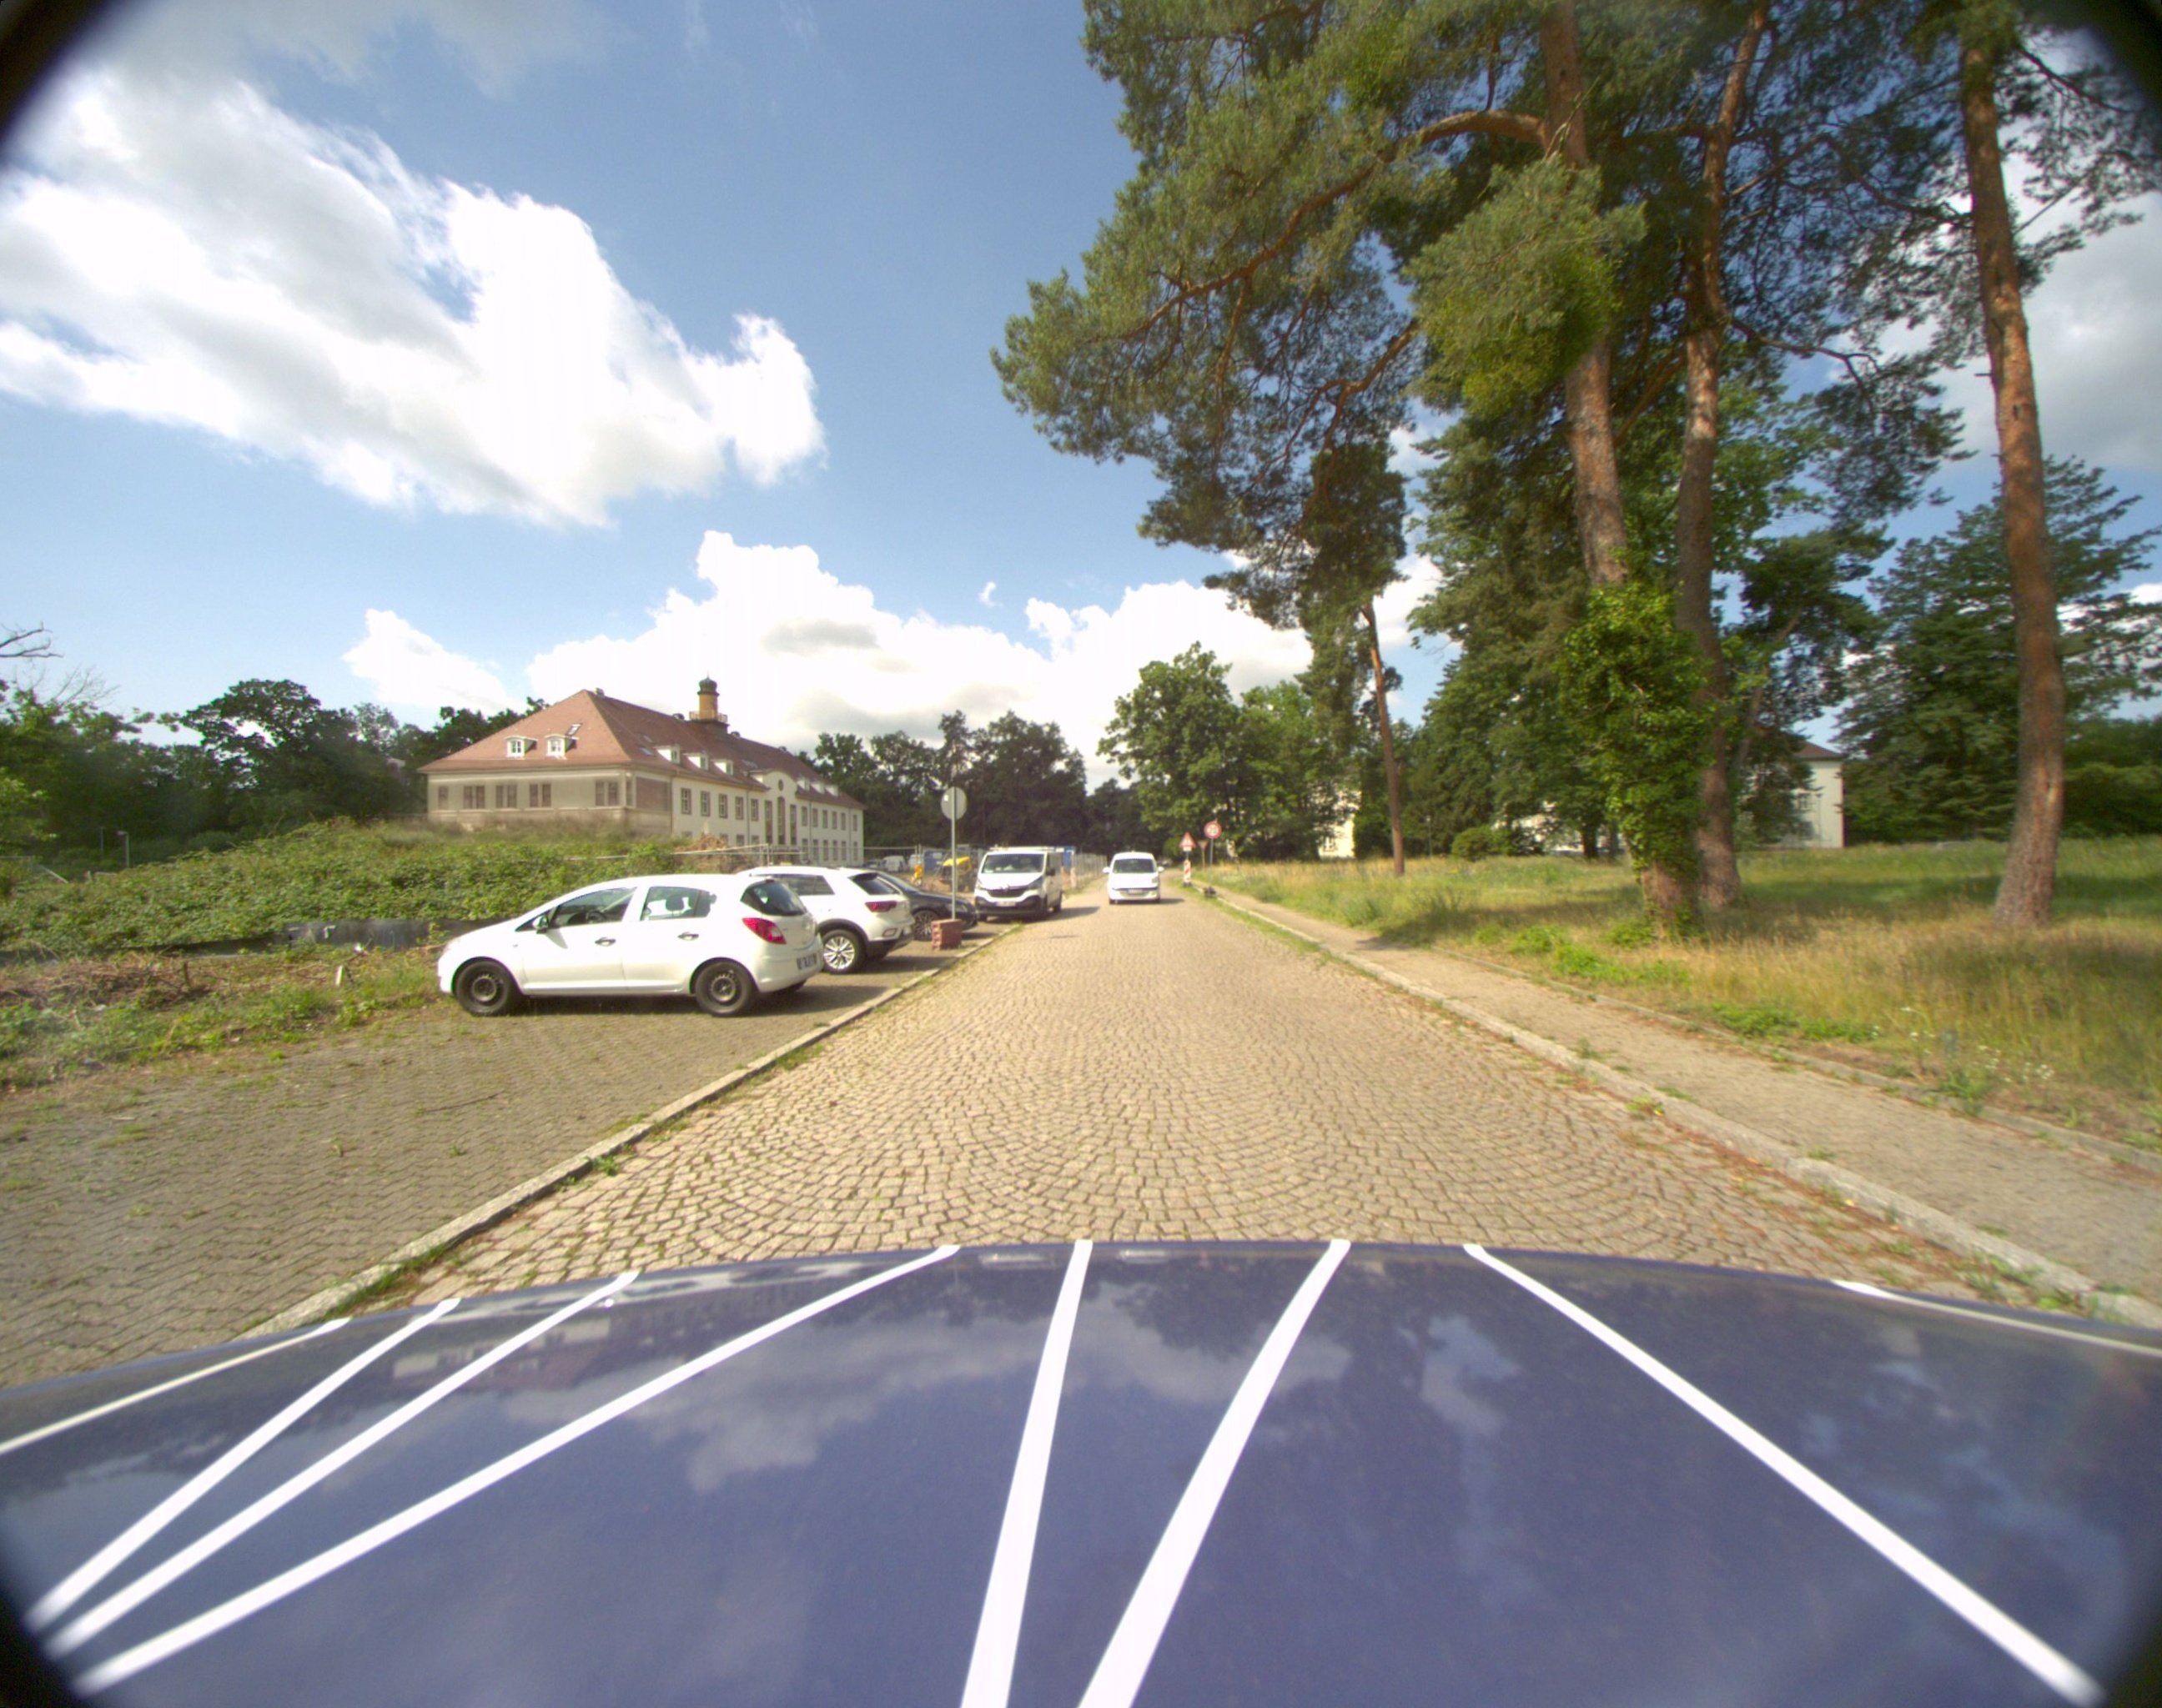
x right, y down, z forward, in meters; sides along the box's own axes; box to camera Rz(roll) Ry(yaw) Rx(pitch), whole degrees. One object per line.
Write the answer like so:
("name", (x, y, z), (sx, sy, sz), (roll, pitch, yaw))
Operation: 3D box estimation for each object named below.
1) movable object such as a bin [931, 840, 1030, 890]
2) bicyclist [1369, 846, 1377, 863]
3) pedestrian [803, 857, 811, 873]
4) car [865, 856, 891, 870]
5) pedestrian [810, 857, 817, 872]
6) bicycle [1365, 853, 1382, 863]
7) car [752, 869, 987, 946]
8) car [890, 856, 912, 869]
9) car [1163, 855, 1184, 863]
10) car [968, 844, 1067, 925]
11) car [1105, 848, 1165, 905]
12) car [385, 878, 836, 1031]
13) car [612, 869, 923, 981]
("movable object such as a bin", (-5.334, 0.573, 41.246), (2.143, 2.506, 5.668), (0, -1, 33))
("bicyclist", (30.292, 0.072, 78.812), (0.570, 1.760, 0.635), (-1, 0, 10))
("pedestrian", (-30.747, 1.212, 85.255), (0.490, 1.777, 0.507), (-1, 0, 27))
("car", (-27.898, 1.221, 104.585), (1.883, 1.718, 4.709), (-1, 0, 5))
("pedestrian", (-30.542, 1.207, 86.702), (0.491, 1.777, 0.507), (-1, 0, 1))
("bicycle", (30.302, 0.453, 78.808), (1.555, 0.990, 0.635), (-2, 0, 10))
("car", (-4.342, 1.085, 16.087), (4.465, 1.466, 1.745), (1, 0, 0))
("car", (-24.695, 1.137, 104.458), (1.801, 1.673, 4.041), (-1, 0, 5))
("car", (18.137, 1.001, 149.463), (4.082, 1.634, 1.767), (-1, 0, 3))
("car", (-1.668, 0.780, 22.203), (1.918, 2.041, 5.680), (-1, 0, 5))
("car", (1.886, 0.806, 27.746), (1.839, 1.857, 4.831), (-1, -1, 0))
("car", (-5.079, 1.047, 8.585), (4.052, 1.455, 1.704), (1, 0, 1))
("car", (-4.606, 1.017, 11.561), (3.996, 1.498, 1.747), (1, 0, 1))
